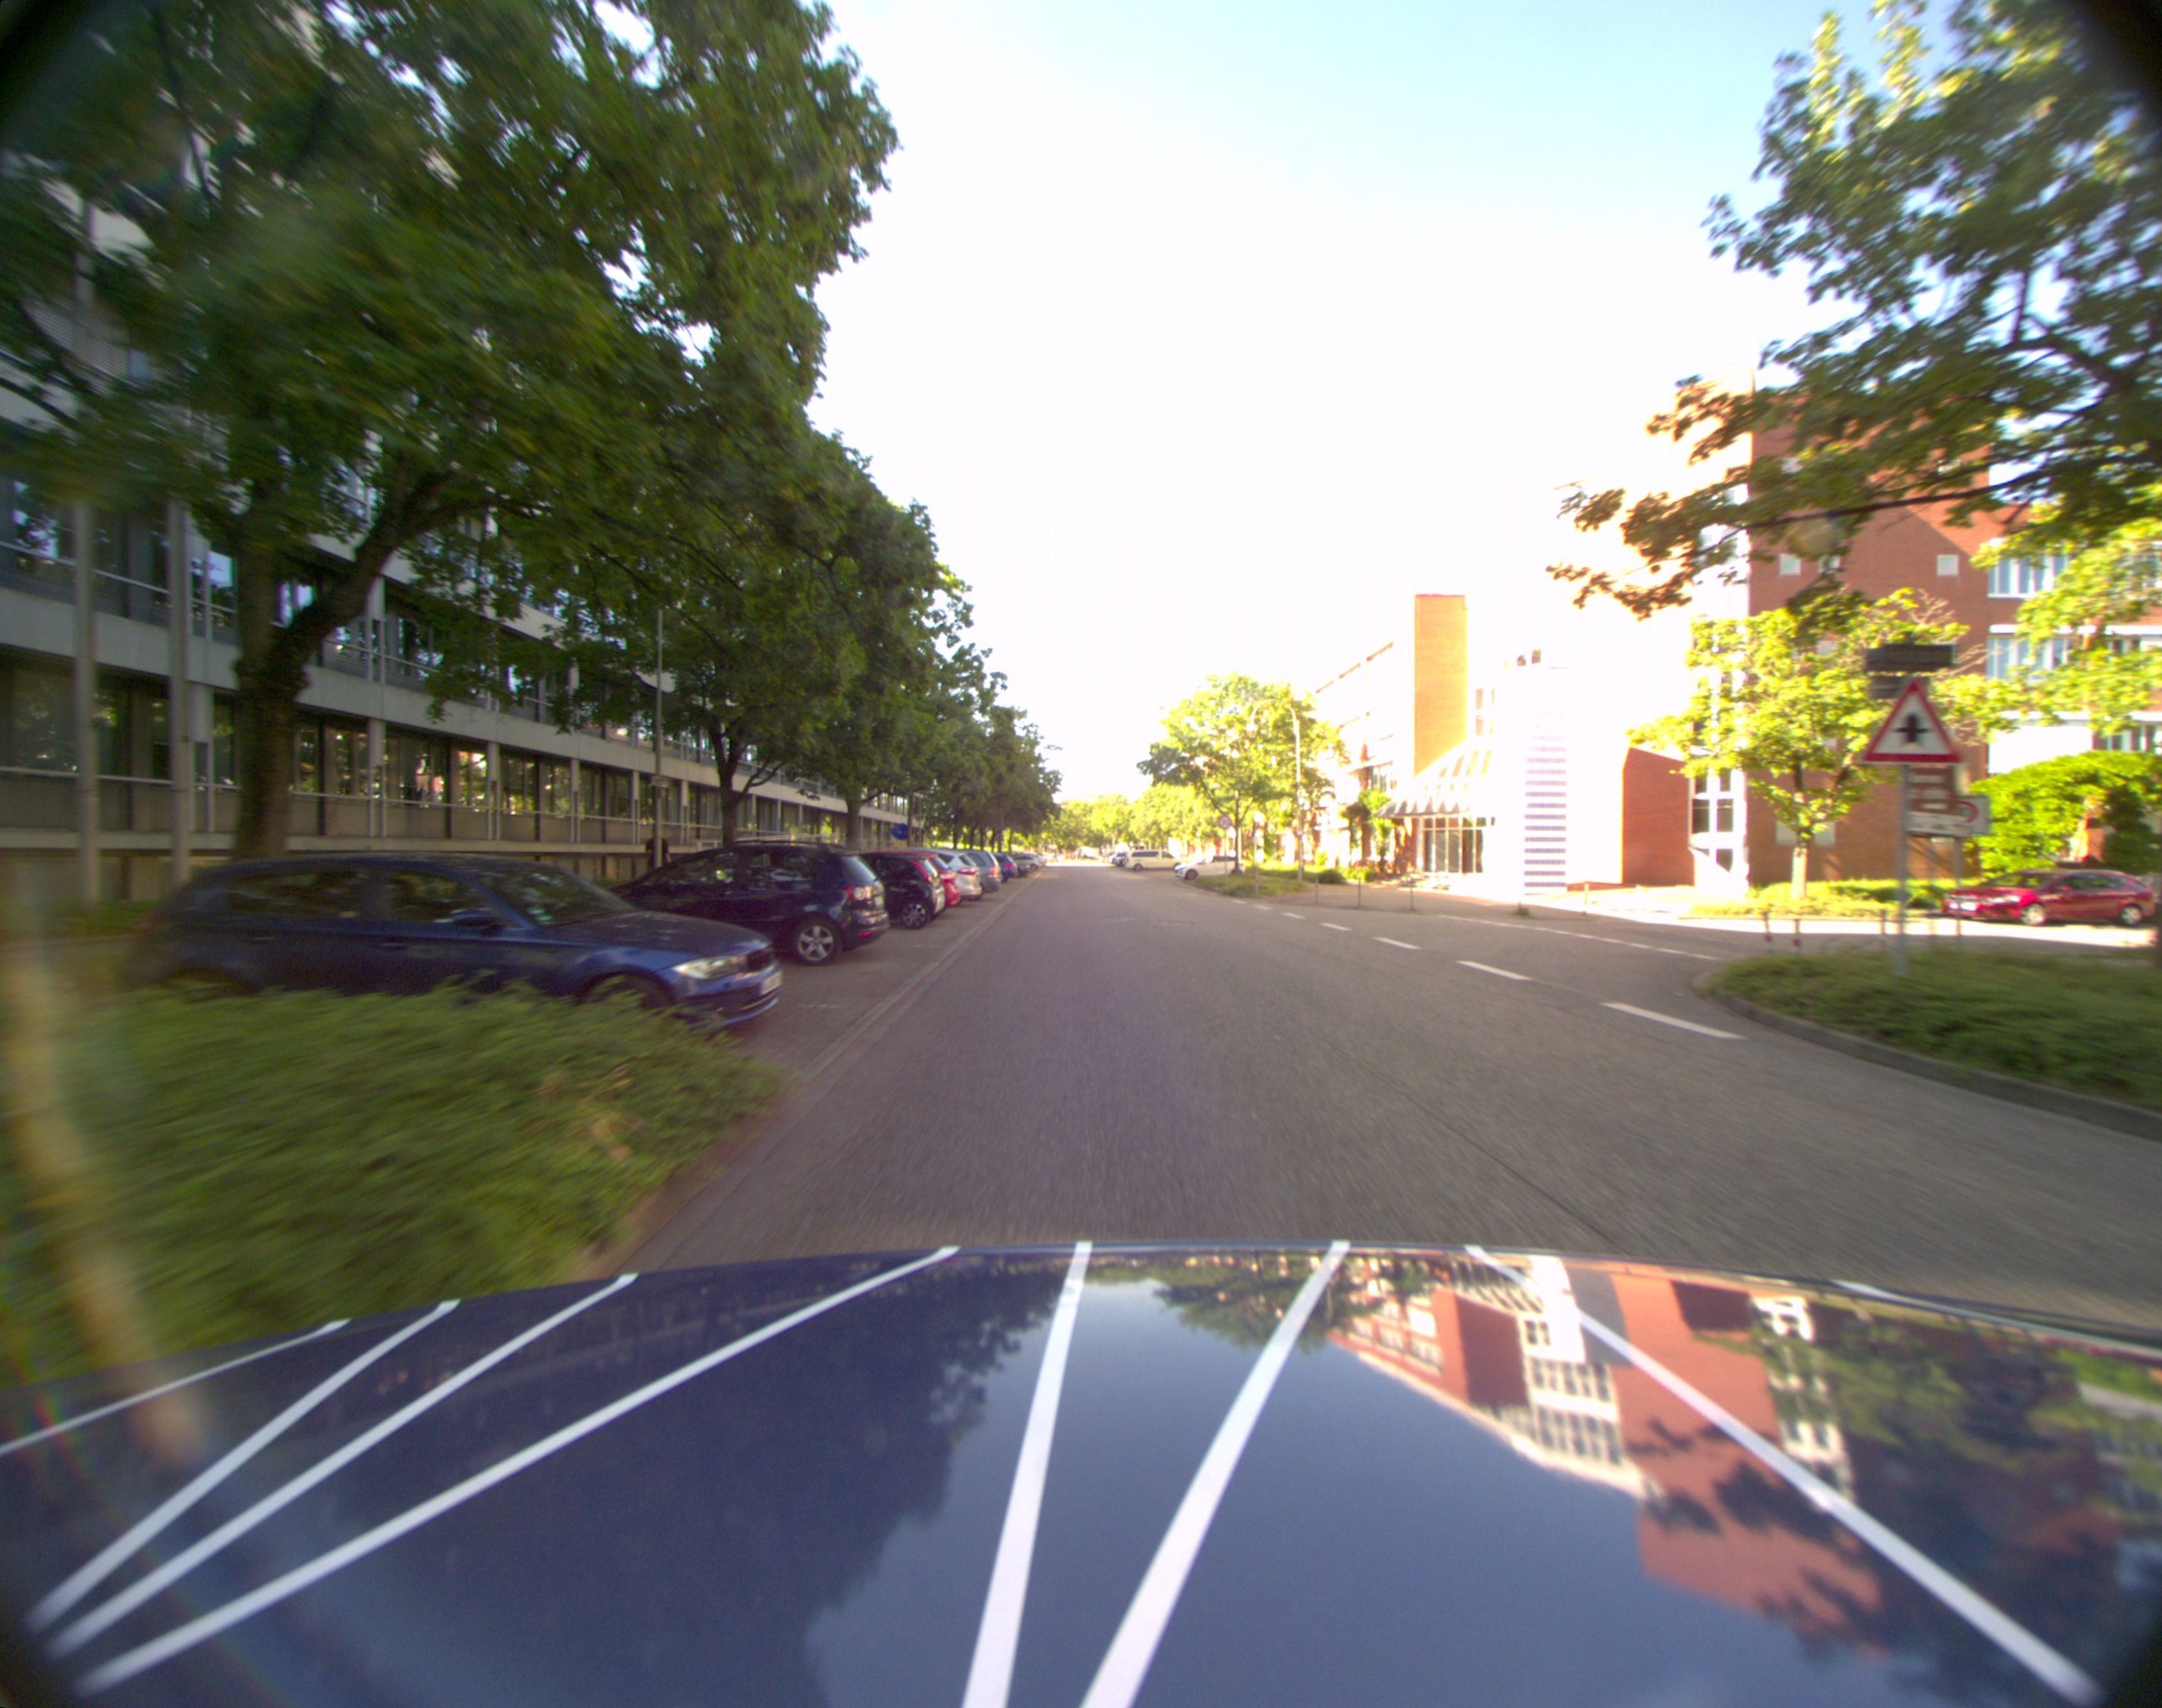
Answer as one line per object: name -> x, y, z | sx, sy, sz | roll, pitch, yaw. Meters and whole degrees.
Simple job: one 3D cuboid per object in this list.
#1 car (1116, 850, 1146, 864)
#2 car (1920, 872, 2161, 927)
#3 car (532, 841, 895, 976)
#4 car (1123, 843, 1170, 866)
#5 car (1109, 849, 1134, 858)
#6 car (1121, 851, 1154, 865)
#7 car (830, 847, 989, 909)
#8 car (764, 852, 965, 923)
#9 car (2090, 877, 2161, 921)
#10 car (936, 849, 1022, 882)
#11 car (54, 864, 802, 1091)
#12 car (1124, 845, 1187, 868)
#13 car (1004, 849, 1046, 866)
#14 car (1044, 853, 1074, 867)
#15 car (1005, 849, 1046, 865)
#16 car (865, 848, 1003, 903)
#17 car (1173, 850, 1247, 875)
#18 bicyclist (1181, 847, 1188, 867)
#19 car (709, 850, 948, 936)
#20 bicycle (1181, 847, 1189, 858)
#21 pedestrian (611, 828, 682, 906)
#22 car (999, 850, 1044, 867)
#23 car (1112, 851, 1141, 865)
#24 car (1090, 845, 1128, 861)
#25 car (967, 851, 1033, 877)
car -> 6.077, 0.342, 91.726 | 3.451, 1.619, 1.594 | 1, 1, -2
car -> 26.701, 1.239, 21.261 | 4.437, 1.444, 1.847 | 0, 1, -1
car -> -4.816, 0.696, 10.458 | 4.137, 1.581, 1.659 | 2, 2, -5
car -> 6.627, 0.044, 77.127 | 4.634, 2.156, 2.000 | 1, 1, 0
car -> 5.974, -0.088, 111.754 | 3.451, 1.336, 1.594 | 1, 1, -2
car -> 6.249, 0.434, 84.030 | 3.451, 1.546, 1.594 | 1, 1, -2
car -> -4.673, 0.640, 21.108 | 3.997, 1.575, 1.714 | 1, 1, 0
car -> -4.807, 0.734, 17.388 | 4.137, 1.508, 1.835 | 1, 0, -6
car -> 32.173, 1.264, 21.534 | 4.720, 1.180, 1.847 | 0, 0, -1
car -> -5.102, 0.553, 38.214 | 3.996, 1.486, 1.714 | 2, 1, 2
car -> -4.518, 0.852, 5.822 | 4.127, 1.362, 1.653 | 2, 1, -5
car -> 6.530, 0.207, 66.840 | 5.318, 1.875, 2.000 | 1, 1, 0
car -> -5.432, 0.348, 73.599 | 3.998, 1.471, 1.803 | 2, 1, -4
car -> -2.703, 0.754, 93.822 | 3.555, 1.544, 1.743 | 2, -2, -4
car -> -5.606, 0.257, 76.548 | 3.998, 1.471, 1.803 | 2, 1, -4
car -> -4.568, 0.652, 24.139 | 4.137, 1.657, 1.906 | 0, 1, -5
car -> 7.470, 0.487, 44.319 | 4.004, 1.411, 1.618 | -1, 1, -2
bicyclist -> 10.627, 0.323, 78.186 | 0.633, 2.002, 0.609 | -1, 1, 2
car -> -4.803, 0.725, 14.947 | 4.137, 1.452, 1.659 | 2, 1, -5
bicycle -> 10.678, -0.131, 78.201 | 0.637, 1.093, 2.155 | 0, 1, 3
pedestrian -> -10.284, 0.299, 18.024 | 1.037, 1.788, 1.018 | -1, 1, -2
car -> -5.369, 0.430, 68.498 | 3.998, 1.471, 1.803 | 1, 1, -4
car -> 5.638, 0.537, 93.647 | 3.451, 1.647, 1.594 | 1, 1, -2
car -> 2.981, -0.104, 81.246 | 4.007, 1.637, 1.795 | 1, 1, 0
car -> -4.954, 0.593, 46.583 | 3.917, 1.374, 1.586 | 2, 2, -5
